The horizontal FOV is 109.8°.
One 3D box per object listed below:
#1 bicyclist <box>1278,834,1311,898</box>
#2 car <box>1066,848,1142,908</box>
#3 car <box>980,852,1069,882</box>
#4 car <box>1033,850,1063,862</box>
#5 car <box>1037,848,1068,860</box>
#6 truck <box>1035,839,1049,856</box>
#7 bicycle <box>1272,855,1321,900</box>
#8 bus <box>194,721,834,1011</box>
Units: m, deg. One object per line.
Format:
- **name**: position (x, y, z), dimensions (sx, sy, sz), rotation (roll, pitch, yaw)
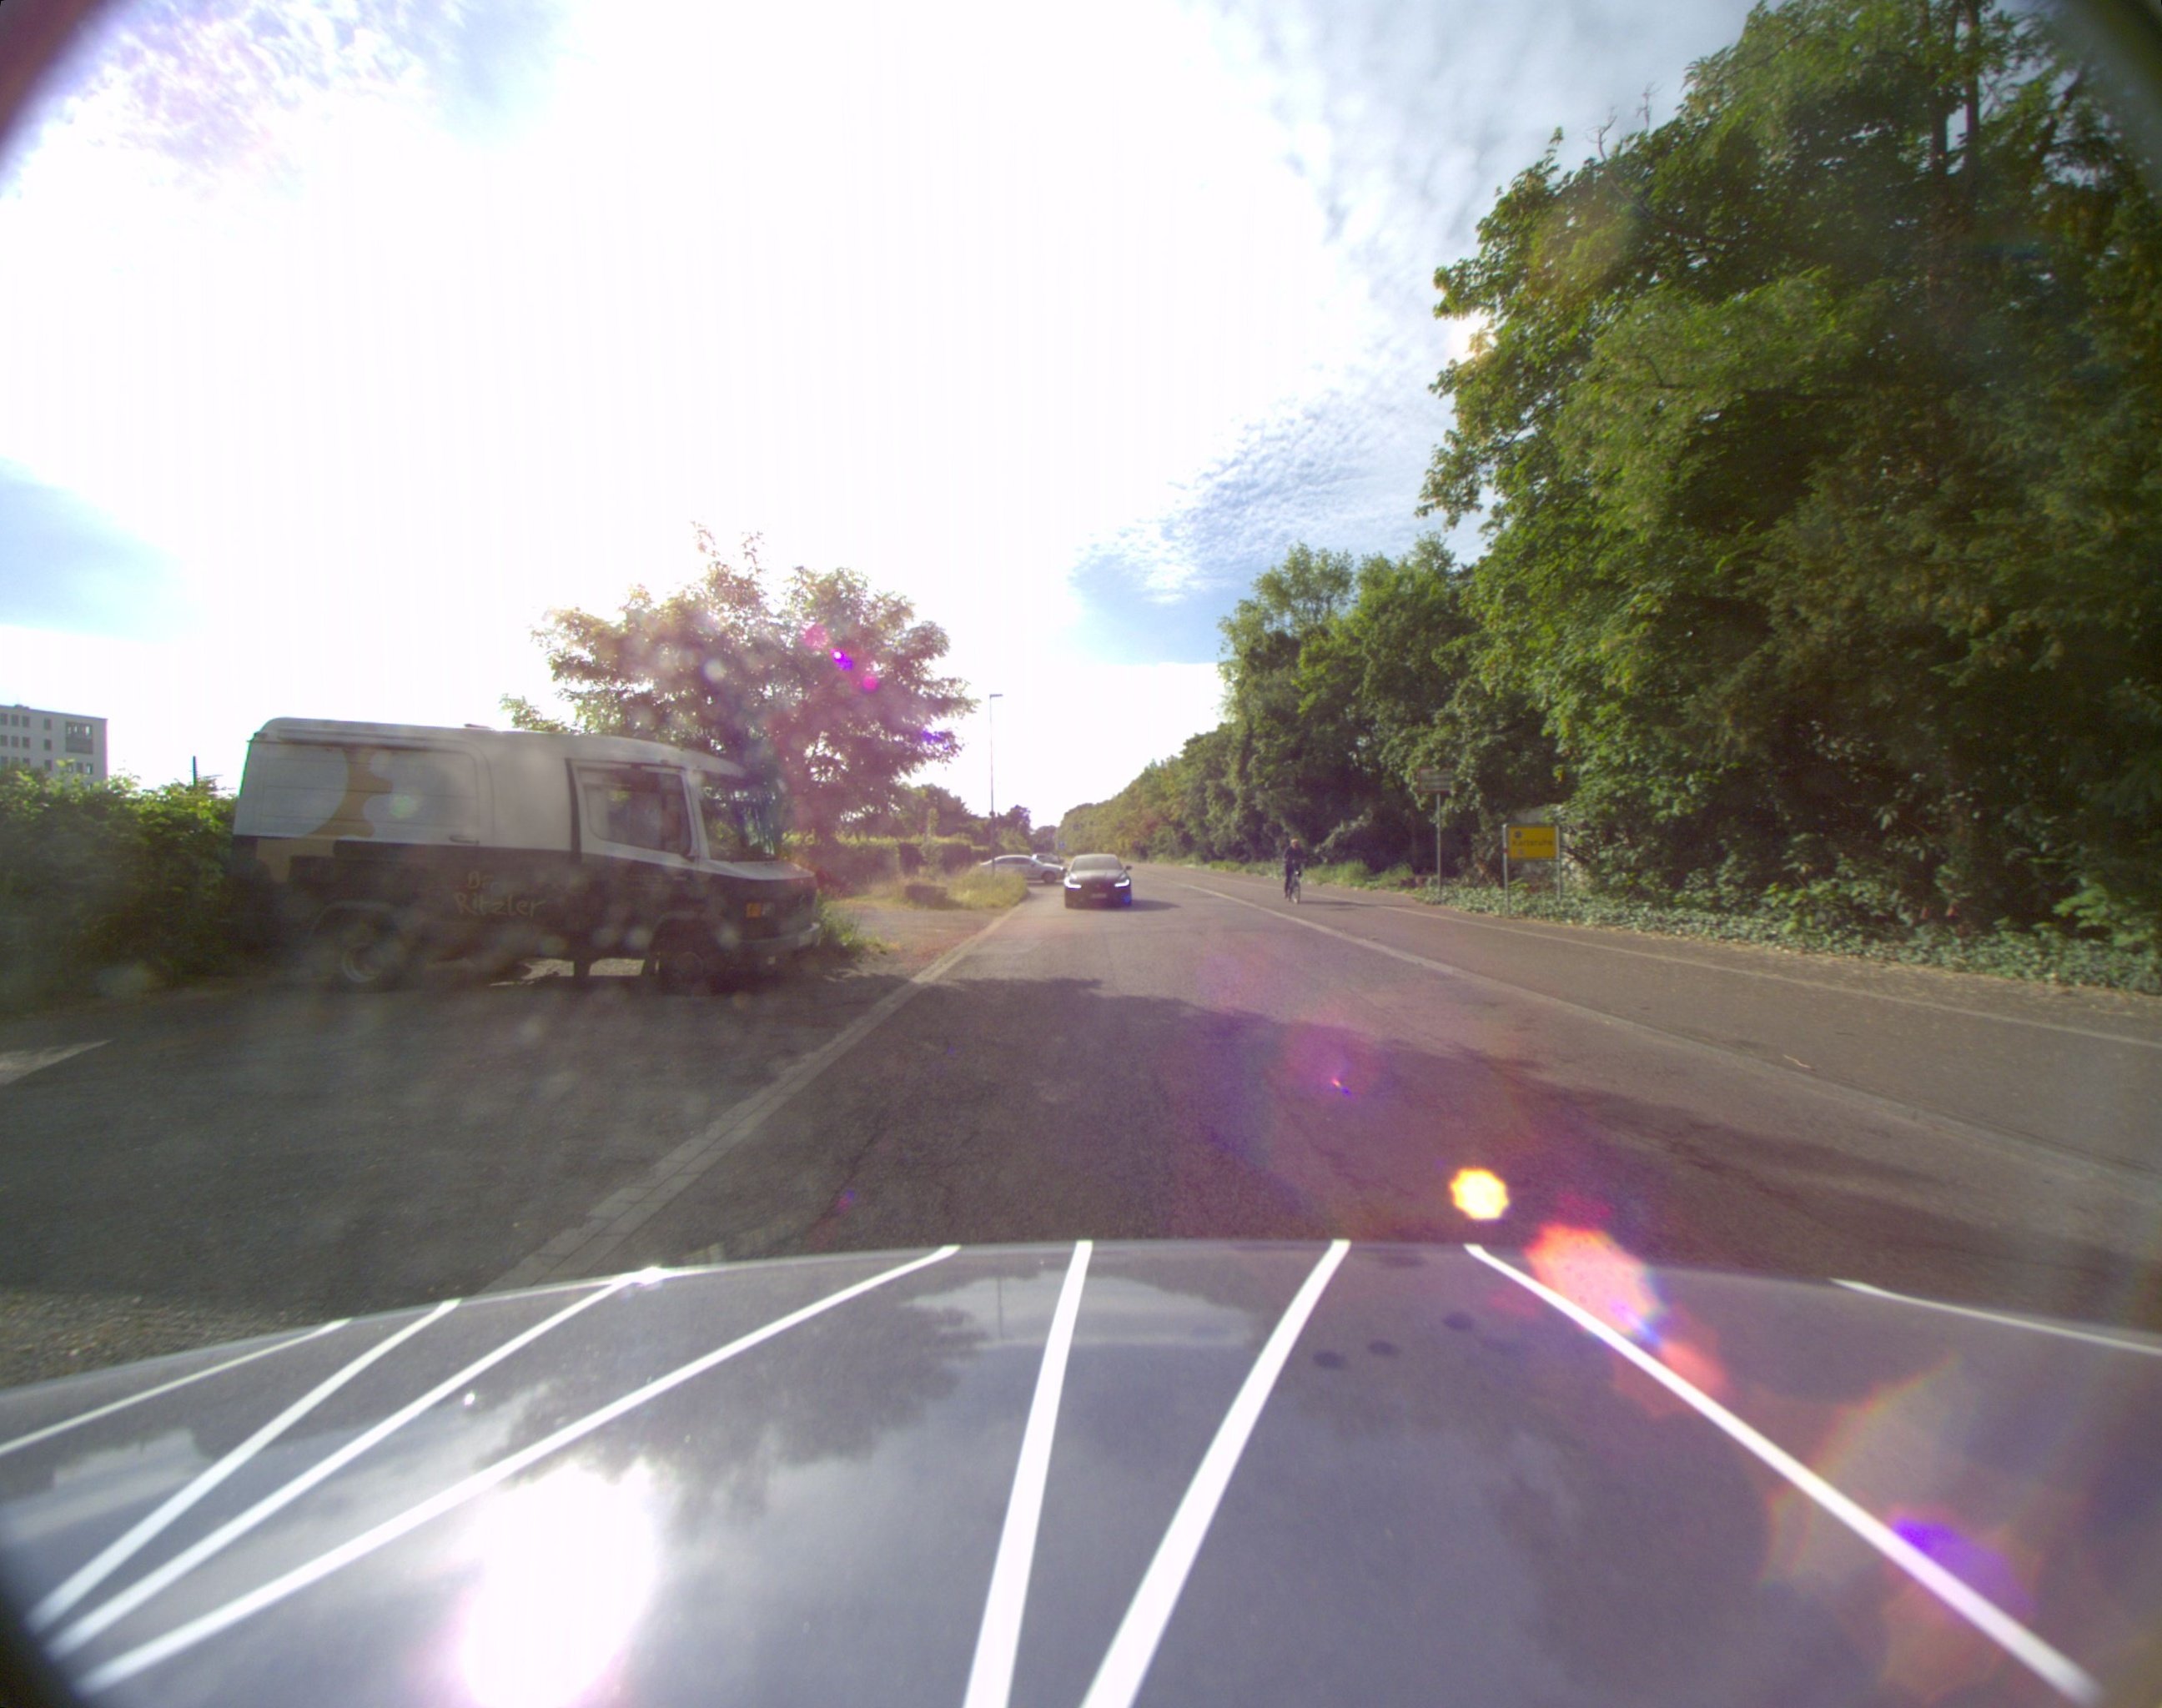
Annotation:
- **bicyclist**: position (5.705, 0.304, 20.315), dimensions (0.610, 1.667, 0.883), rotation (-2, 1, 1)
- **car**: position (0.551, 0.596, 21.703), dimensions (1.936, 1.501, 4.679), rotation (-1, 0, -1)
- **car**: position (-2.781, 0.640, 38.262), dimensions (4.373, 1.435, 1.932), rotation (0, 1, -1)
- **car**: position (-4.476, 0.231, 103.425), dimensions (3.867, 1.481, 1.692), rotation (2, -1, -1)
- **car**: position (-4.264, 0.013, 114.014), dimensions (4.599, 1.690, 1.763), rotation (1, 1, 1)
- **truck**: position (-9.436, -1.485, 183.591), dimensions (2.604, 3.935, 6.279), rotation (3, 0, -8)
- **bicycle**: position (5.711, 0.598, 20.277), dimensions (0.664, 1.091, 2.348), rotation (-2, 1, 1)
- **bus**: position (-5.734, 0.141, 8.321), dimensions (5.380, 2.731, 2.068), rotation (1, 0, -2)
